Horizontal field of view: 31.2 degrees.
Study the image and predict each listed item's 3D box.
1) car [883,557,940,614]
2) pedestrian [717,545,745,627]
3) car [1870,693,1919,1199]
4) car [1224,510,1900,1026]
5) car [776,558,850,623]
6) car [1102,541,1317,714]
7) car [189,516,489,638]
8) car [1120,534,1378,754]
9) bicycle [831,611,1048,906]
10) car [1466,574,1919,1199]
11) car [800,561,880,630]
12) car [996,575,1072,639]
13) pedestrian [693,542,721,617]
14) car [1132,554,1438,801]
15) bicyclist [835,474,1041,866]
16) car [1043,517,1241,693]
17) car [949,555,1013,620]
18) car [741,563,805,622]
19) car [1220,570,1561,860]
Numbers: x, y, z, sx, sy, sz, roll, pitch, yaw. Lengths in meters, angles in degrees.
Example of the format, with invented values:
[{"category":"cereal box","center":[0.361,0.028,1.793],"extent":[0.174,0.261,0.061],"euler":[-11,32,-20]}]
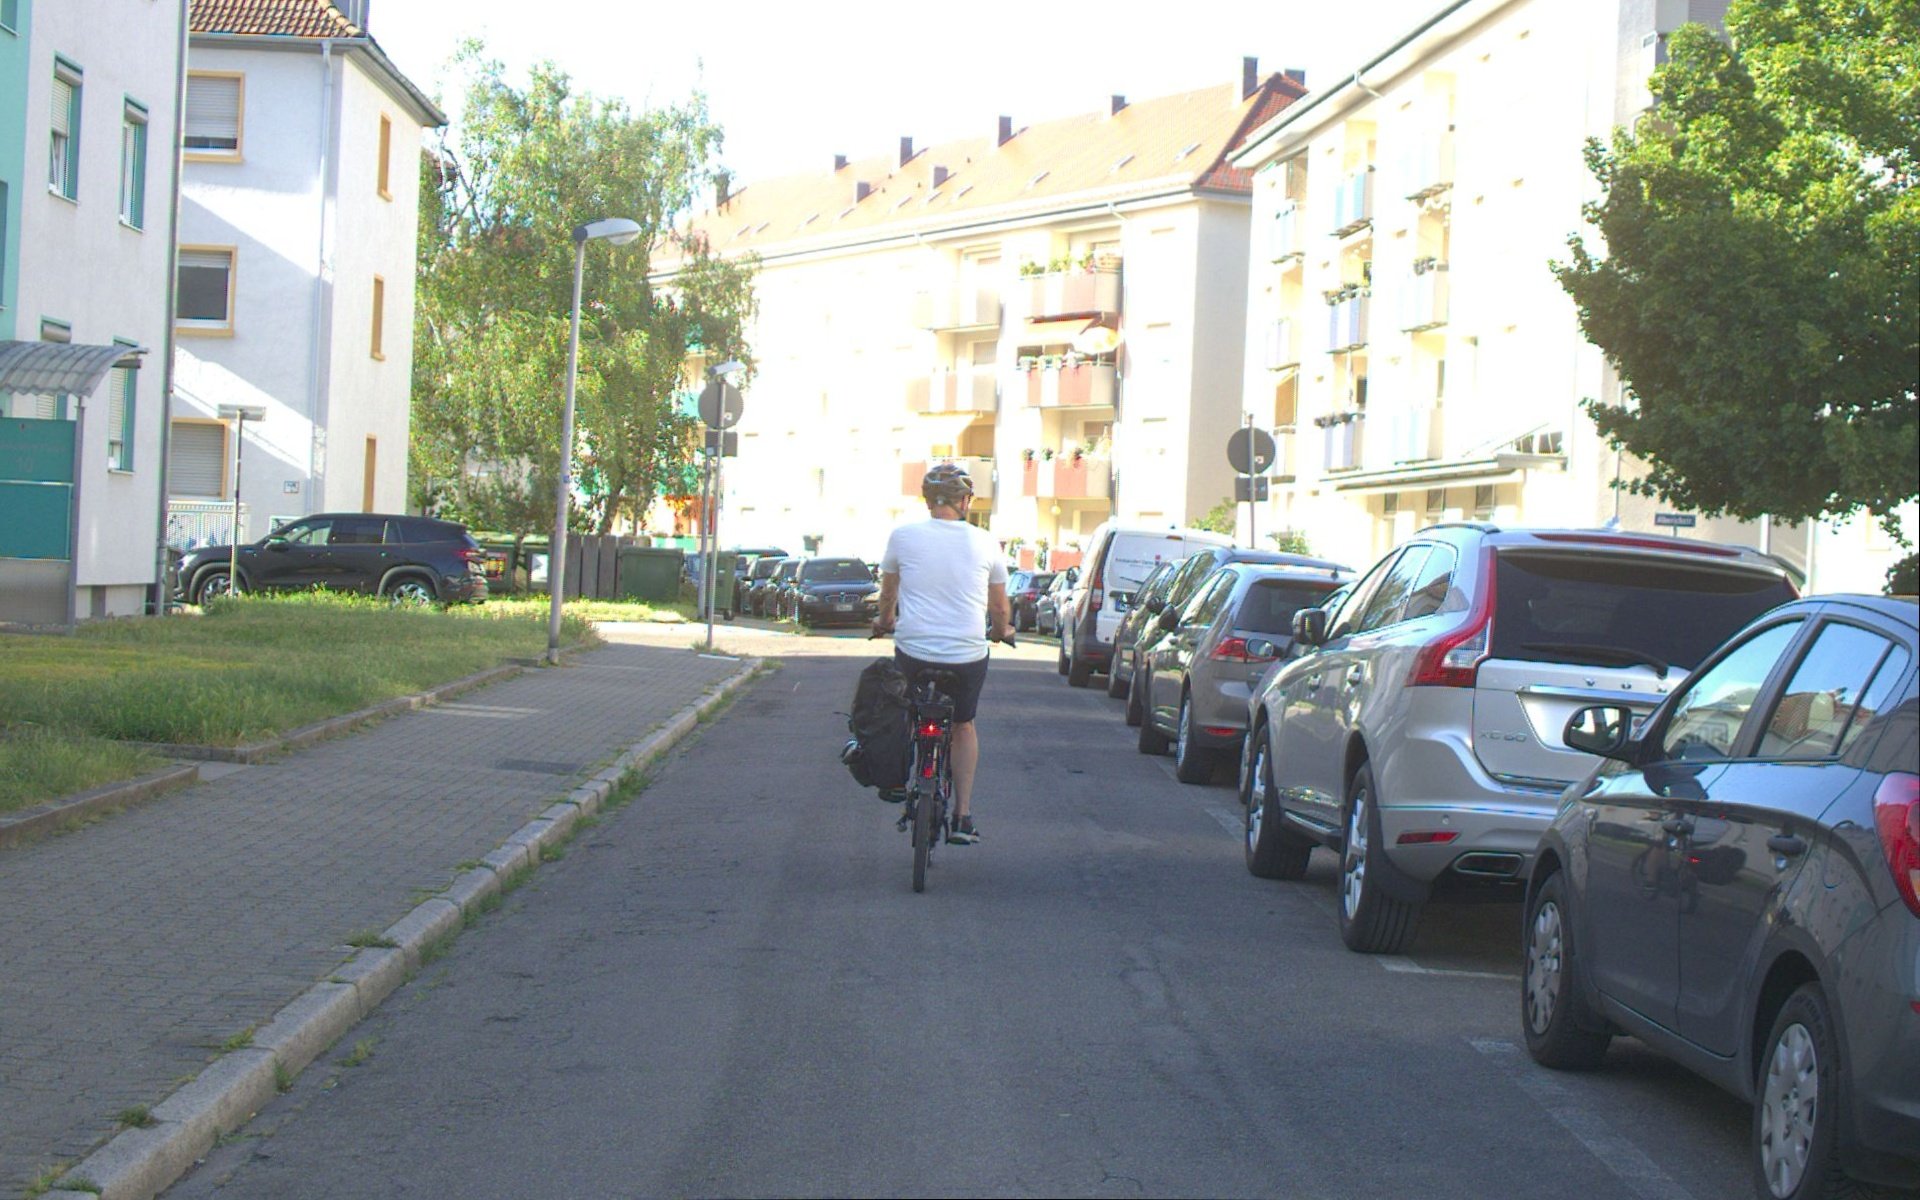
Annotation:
[{"category":"car","center":[-1.418,-0.431,99.695],"extent":[1.469,1.511,3.077],"euler":[3,1,-3]},{"category":"pedestrian","center":[-4.435,-0.276,66.675],"extent":[0.434,1.569,0.543],"euler":[3,1,-1]},{"category":"car","center":[2.446,0.745,3.447],"extent":[1.862,1.662,4.127],"euler":[5,1,-1]},{"category":"car","center":[2.244,0.531,14.031],"extent":[1.700,1.665,4.380],"euler":[4,1,-3]},{"category":"car","center":[-3.225,-0.213,74.928],"extent":[1.469,1.331,3.141],"euler":[-1,1,-5]},{"category":"car","center":[2.331,0.224,32.828],"extent":[1.558,1.448,3.367],"euler":[3,1,-3]},{"category":"car","center":[-9.275,-0.352,51.548],"extent":[4.230,1.633,1.583],"euler":[2,1,-4]},{"category":"car","center":[2.277,0.302,27.860],"extent":[1.558,1.571,3.367],"euler":[3,1,-3]},{"category":"bicycle","center":[-0.122,0.647,14.983],"extent":[0.808,1.124,2.102],"euler":[2,1,-3]},{"category":"car","center":[2.563,0.762,8.904],"extent":[1.617,1.455,3.842],"euler":[5,1,-3]},{"category":"car","center":[-2.479,-0.107,70.561],"extent":[1.469,1.331,3.141],"euler":[-1,1,-5]},{"category":"car","center":[1.705,0.141,80.154],"extent":[1.469,1.331,3.141],"euler":[4,1,-3]},{"category":"pedestrian","center":[-4.909,-0.399,66.623],"extent":[0.434,1.422,0.543],"euler":[3,1,-1]},{"category":"car","center":[2.114,0.454,23.286],"extent":[1.559,1.406,3.934],"euler":[4,1,-1]},{"category":"bicyclist","center":[-0.109,0.288,14.988],"extent":[0.808,1.638,0.899],"euler":[2,1,-3]},{"category":"car","center":[1.939,0.004,37.663],"extent":[1.674,1.733,3.943],"euler":[3,1,-3]},{"category":"car","center":[0.515,-0.333,87.004],"extent":[1.381,1.492,3.077],"euler":[3,1,-3]},{"category":"car","center":[-4.447,-0.189,81.568],"extent":[1.469,1.331,3.141],"euler":[-1,1,-4]},{"category":"car","center":[2.353,0.583,19.433],"extent":[1.391,1.398,3.244],"euler":[3,1,-1]}]
